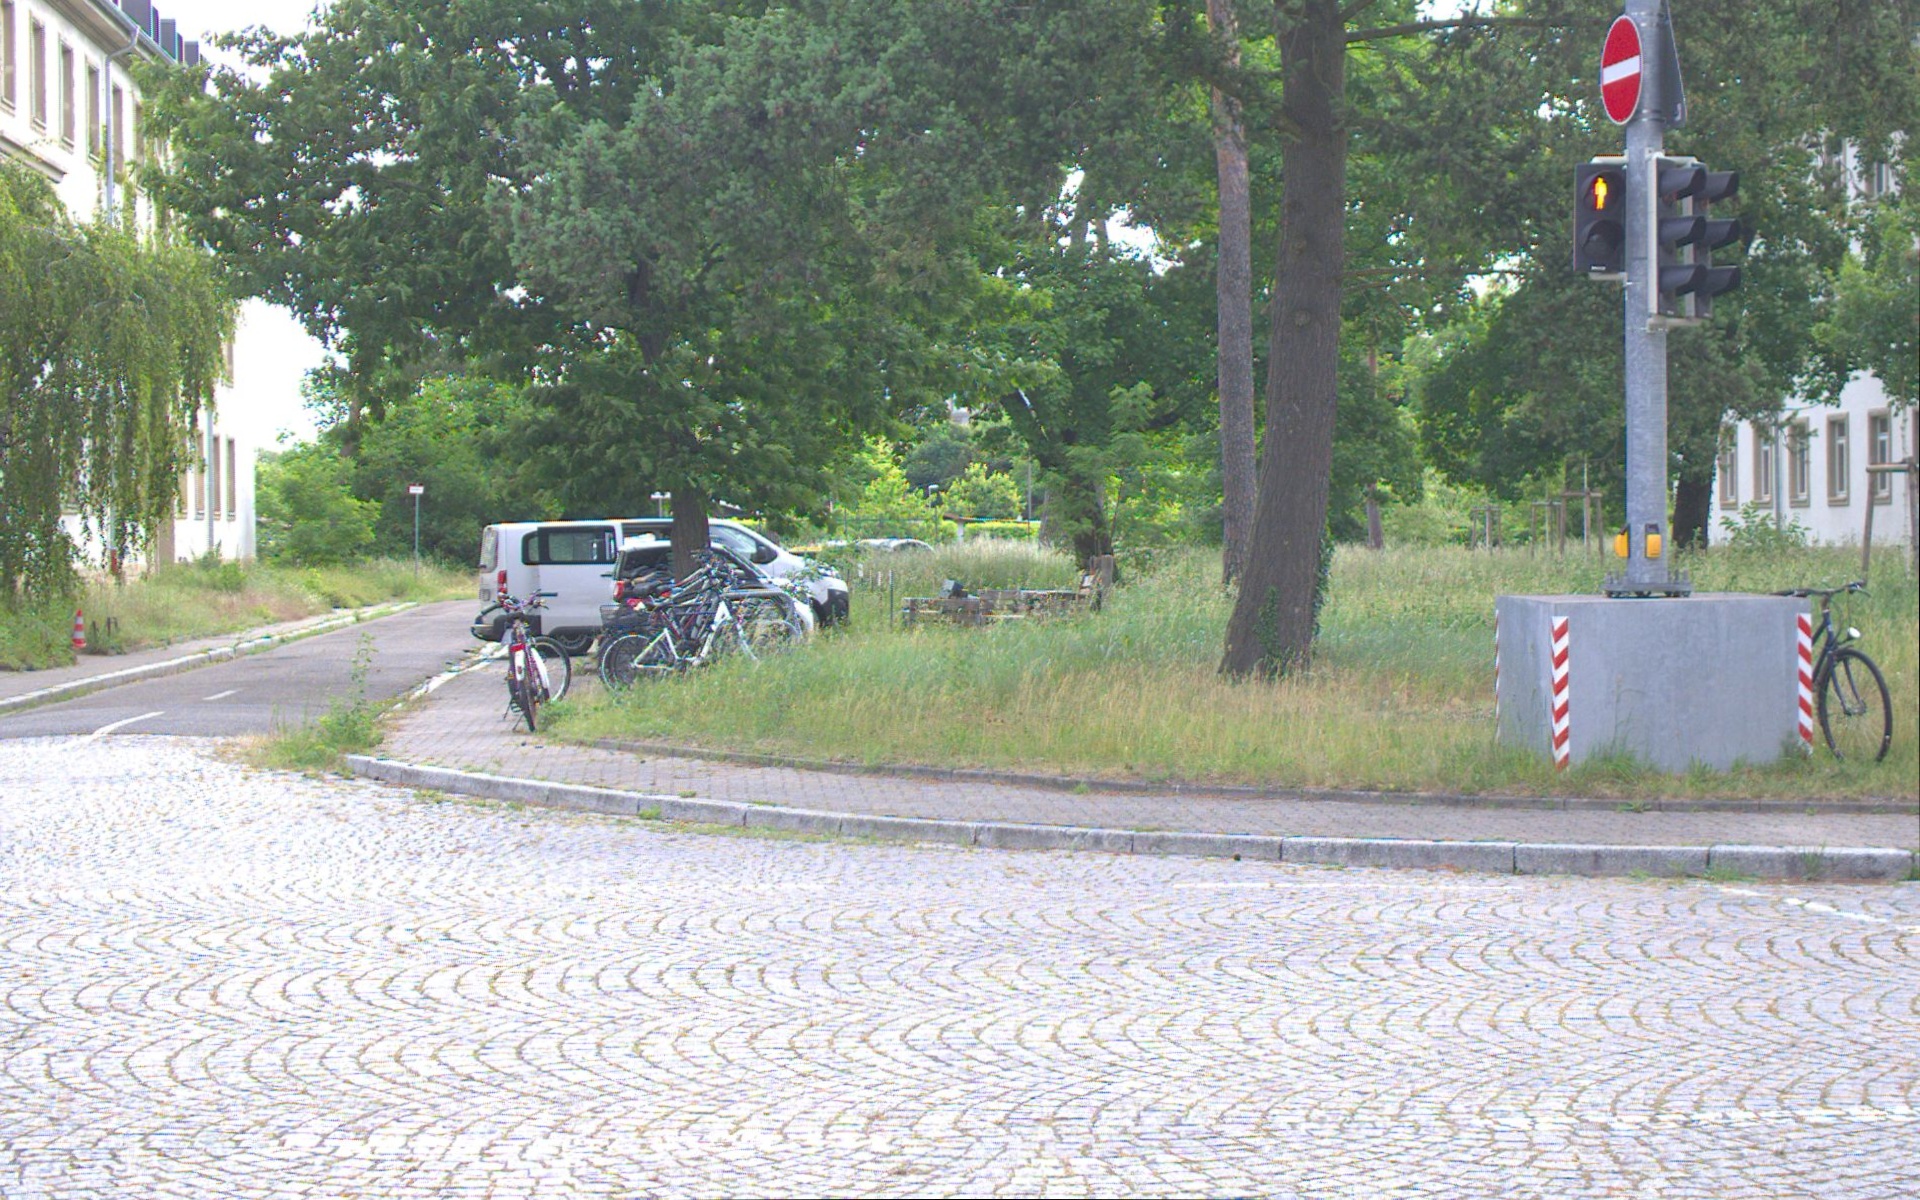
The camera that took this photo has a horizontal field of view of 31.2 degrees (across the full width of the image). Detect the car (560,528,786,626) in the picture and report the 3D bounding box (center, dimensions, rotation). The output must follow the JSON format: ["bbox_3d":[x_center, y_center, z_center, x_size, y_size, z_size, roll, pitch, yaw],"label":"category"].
[{"bbox_3d":[-5.250,-0.428,62.741,4.031,1.712,1.681,-1,1,-5],"label":"car"}]

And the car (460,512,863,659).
[{"bbox_3d":[-4.251,-0.235,48.887,5.303,1.909,2.150,-2,1,-19],"label":"car"}]

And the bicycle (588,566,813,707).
[{"bbox_3d":[-2.336,0.325,30.879,1.982,1.243,0.624,0,0,-6],"label":"bicycle"}]

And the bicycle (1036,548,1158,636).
[{"bbox_3d":[1.778,-0.104,44.766,1.549,1.121,0.401,-1,1,-3],"label":"bicycle"}]

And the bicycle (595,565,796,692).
[{"bbox_3d":[-2.654,0.282,34.439,1.982,1.243,0.624,0,0,-6],"label":"bicycle"}]

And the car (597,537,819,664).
[{"bbox_3d":[-3.334,-0.011,45.469,2.847,1.552,1.472,-1,2,-5],"label":"car"}]

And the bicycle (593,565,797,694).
[{"bbox_3d":[-2.622,0.288,33.914,1.982,1.243,0.624,0,0,-6],"label":"bicycle"}]

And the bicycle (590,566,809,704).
[{"bbox_3d":[-2.393,0.318,31.505,1.982,1.243,0.624,0,0,-6],"label":"bicycle"}]

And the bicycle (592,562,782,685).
[{"bbox_3d":[-2.960,0.248,37.169,1.982,1.243,0.624,-2,1,-6],"label":"bicycle"}]

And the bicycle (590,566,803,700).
[{"bbox_3d":[-2.491,0.306,32.427,1.982,1.243,0.624,0,0,-6],"label":"bicycle"}]

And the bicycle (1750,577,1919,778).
[{"bbox_3d":[4.858,0.402,18.935,0.580,0.967,1.678,-2,3,0],"label":"bicycle"}]

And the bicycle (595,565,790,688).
[{"bbox_3d":[-2.769,0.269,35.512,1.982,1.243,0.624,0,0,-6],"label":"bicycle"}]

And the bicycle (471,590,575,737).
[{"bbox_3d":[-3.473,0.487,27.415,0.622,1.110,1.989,0,1,-2],"label":"bicycle"}]

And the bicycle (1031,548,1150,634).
[{"bbox_3d":[1.744,-0.121,45.998,1.549,1.121,0.401,-1,1,-3],"label":"bicycle"}]

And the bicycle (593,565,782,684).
[{"bbox_3d":[-2.900,0.256,36.512,1.982,1.243,0.624,0,0,-6],"label":"bicycle"}]

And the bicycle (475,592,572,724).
[{"bbox_3d":[-3.717,0.479,29.357,0.622,1.079,1.678,0,1,0],"label":"bicycle"}]

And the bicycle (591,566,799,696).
[{"bbox_3d":[-2.570,0.296,33.283,1.982,1.243,0.624,0,0,-6],"label":"bicycle"}]

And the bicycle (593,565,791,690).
[{"bbox_3d":[-2.721,0.277,34.852,1.982,1.243,0.624,0,0,-6],"label":"bicycle"}]
